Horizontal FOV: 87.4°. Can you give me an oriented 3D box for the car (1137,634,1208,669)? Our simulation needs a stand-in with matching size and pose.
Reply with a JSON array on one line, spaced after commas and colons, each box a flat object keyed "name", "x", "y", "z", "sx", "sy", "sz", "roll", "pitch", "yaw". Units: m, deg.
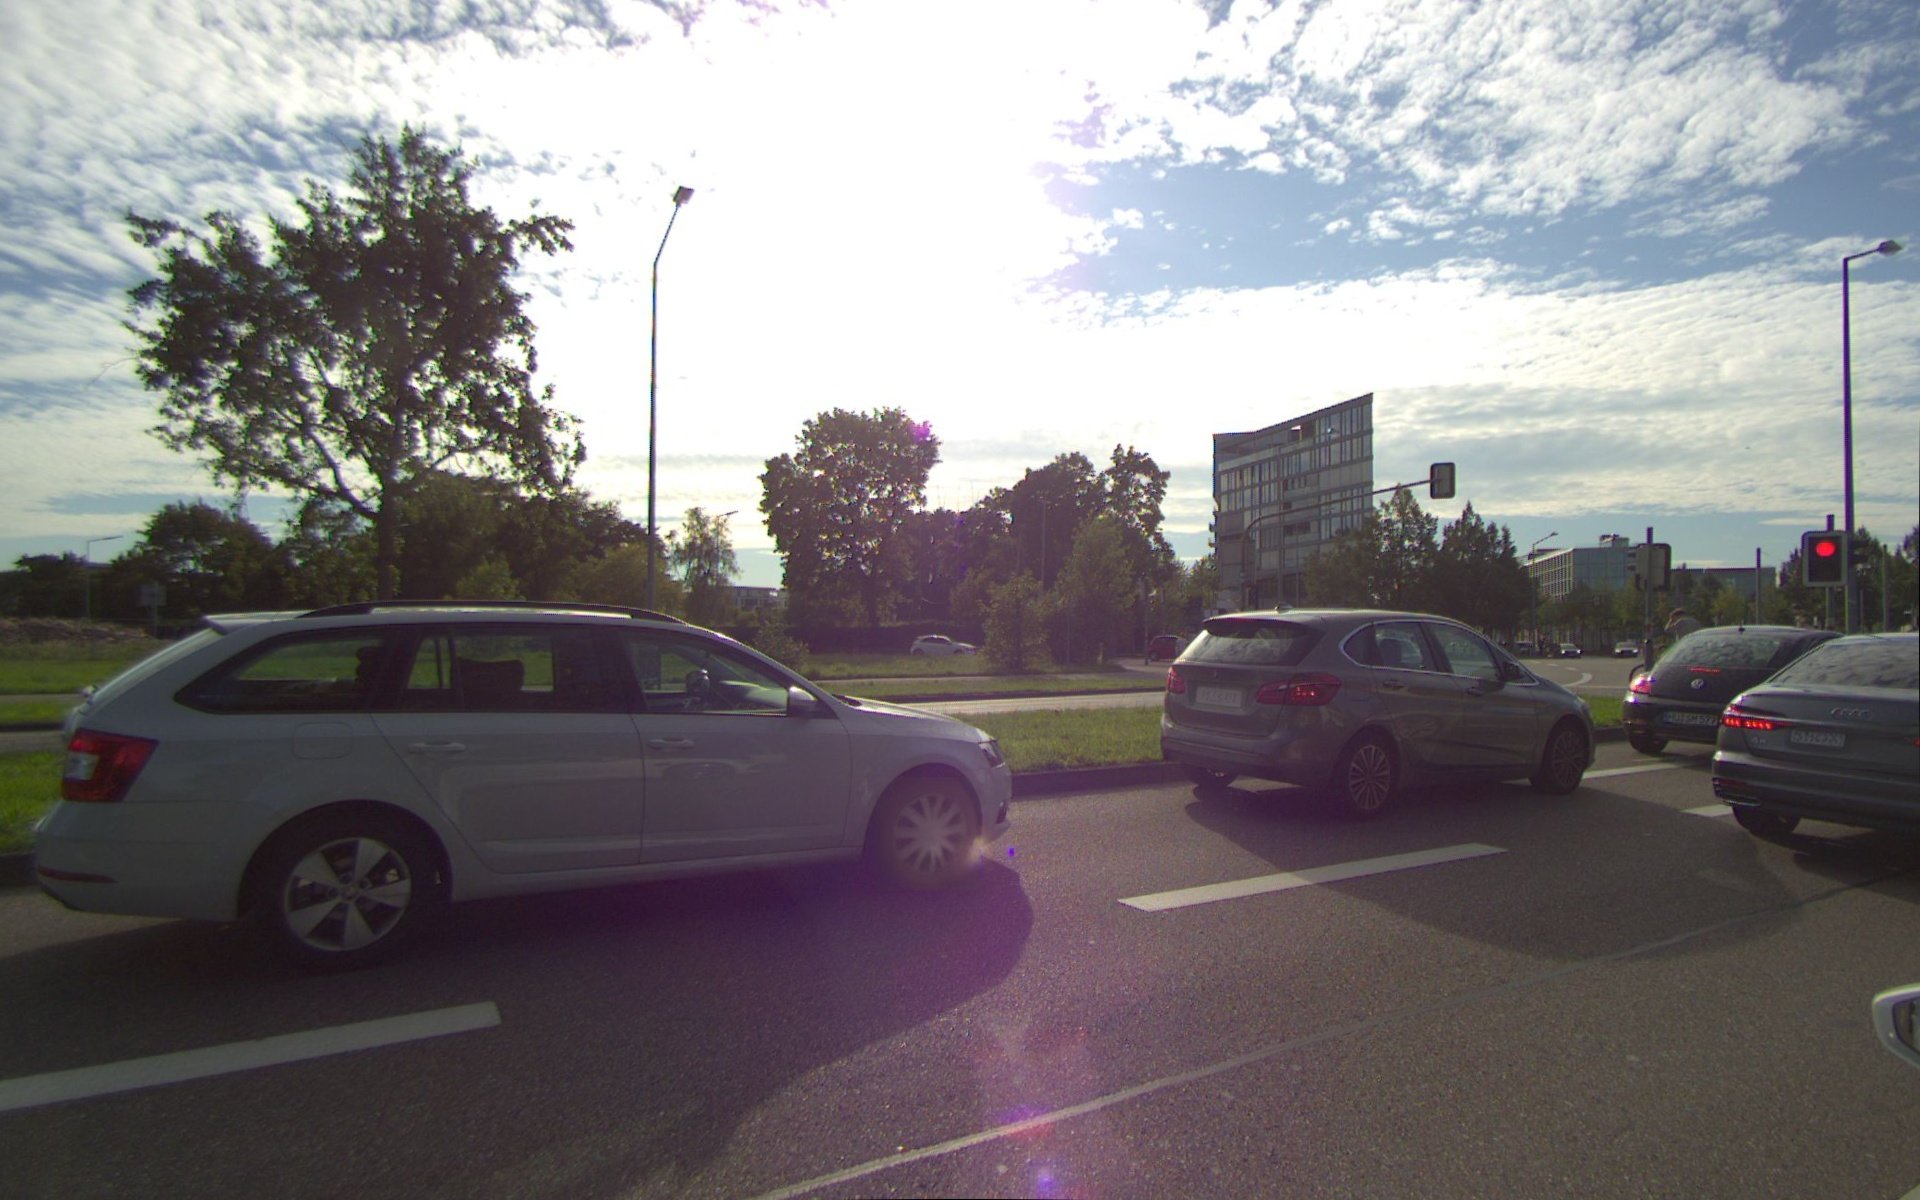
[{"name": "car", "x": 12.387, "y": 2.989, "z": 58.474, "sx": 3.919, "sy": 1.793, "sz": 1.712, "roll": 2, "pitch": -1, "yaw": 13}]

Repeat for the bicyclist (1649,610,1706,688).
[{"name": "bicyclist", "x": 14.735, "y": 0.998, "z": 20.635, "sx": 0.840, "sy": 1.546, "sz": 0.736, "roll": -1, "pitch": -3, "yaw": 44}]

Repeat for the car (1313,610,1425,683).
[{"name": "car", "x": 14.094, "y": 1.613, "z": 34.383, "sx": 1.969, "sy": 2.264, "sz": 5.900, "roll": -3, "pitch": -4, "yaw": 38}]

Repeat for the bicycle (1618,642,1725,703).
[{"name": "bicycle", "x": 14.645, "y": 1.465, "z": 20.701, "sx": 1.707, "sy": 1.179, "sz": 0.652, "roll": -1, "pitch": -2, "yaw": 45}]

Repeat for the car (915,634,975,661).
[{"name": "car", "x": -0.932, "y": 2.946, "z": 62.549, "sx": 3.431, "sy": 1.613, "sz": 1.594, "roll": 0, "pitch": -2, "yaw": 17}]

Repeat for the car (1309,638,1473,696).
[{"name": "car", "x": 11.386, "y": 1.751, "z": 26.483, "sx": 4.158, "sy": 1.428, "sz": 1.892, "roll": 2, "pitch": -4, "yaw": -31}]

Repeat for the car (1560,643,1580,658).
[{"name": "car", "x": 57.137, "y": 4.711, "z": 94.034, "sx": 1.570, "sy": 1.433, "sz": 3.661, "roll": -1, "pitch": -2, "yaw": 32}]

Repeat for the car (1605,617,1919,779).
[{"name": "car", "x": 9.234, "y": 1.007, "z": 11.437, "sx": 3.766, "sy": 1.543, "sz": 1.672, "roll": 2, "pitch": -1, "yaw": -31}]

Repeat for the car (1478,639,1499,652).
[{"name": "car", "x": 71.395, "y": 6.111, "z": 135.797, "sx": 1.678, "sy": 1.713, "sz": 4.002, "roll": 0, "pitch": -2, "yaw": 16}]

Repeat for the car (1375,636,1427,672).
[{"name": "car", "x": 18.552, "y": 2.254, "z": 42.326, "sx": 1.878, "sy": 1.452, "sz": 4.226, "roll": -2, "pitch": -3, "yaw": 23}]

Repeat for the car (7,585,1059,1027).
[{"name": "car", "x": -1.771, "y": 0.780, "z": 5.325, "sx": 4.429, "sy": 1.518, "sz": 1.690, "roll": 2, "pitch": -1, "yaw": -31}]

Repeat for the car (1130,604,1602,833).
[{"name": "car", "x": 3.571, "y": 0.872, "z": 8.690, "sx": 3.971, "sy": 1.579, "sz": 1.721, "roll": 2, "pitch": -1, "yaw": -30}]

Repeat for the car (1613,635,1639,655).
[{"name": "car", "x": 54.881, "y": 3.680, "z": 82.823, "sx": 1.682, "sy": 1.594, "sz": 3.990, "roll": -1, "pitch": -2, "yaw": 33}]

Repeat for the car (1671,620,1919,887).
[{"name": "car", "x": 7.278, "y": 0.953, "z": 7.187, "sx": 4.559, "sy": 1.502, "sz": 1.881, "roll": 2, "pitch": -1, "yaw": -31}]

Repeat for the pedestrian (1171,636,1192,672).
[{"name": "pedestrian", "x": 9.964, "y": 2.409, "z": 45.193, "sx": 0.610, "sy": 1.589, "sz": 0.650, "roll": 2, "pitch": -2, "yaw": -37}]
